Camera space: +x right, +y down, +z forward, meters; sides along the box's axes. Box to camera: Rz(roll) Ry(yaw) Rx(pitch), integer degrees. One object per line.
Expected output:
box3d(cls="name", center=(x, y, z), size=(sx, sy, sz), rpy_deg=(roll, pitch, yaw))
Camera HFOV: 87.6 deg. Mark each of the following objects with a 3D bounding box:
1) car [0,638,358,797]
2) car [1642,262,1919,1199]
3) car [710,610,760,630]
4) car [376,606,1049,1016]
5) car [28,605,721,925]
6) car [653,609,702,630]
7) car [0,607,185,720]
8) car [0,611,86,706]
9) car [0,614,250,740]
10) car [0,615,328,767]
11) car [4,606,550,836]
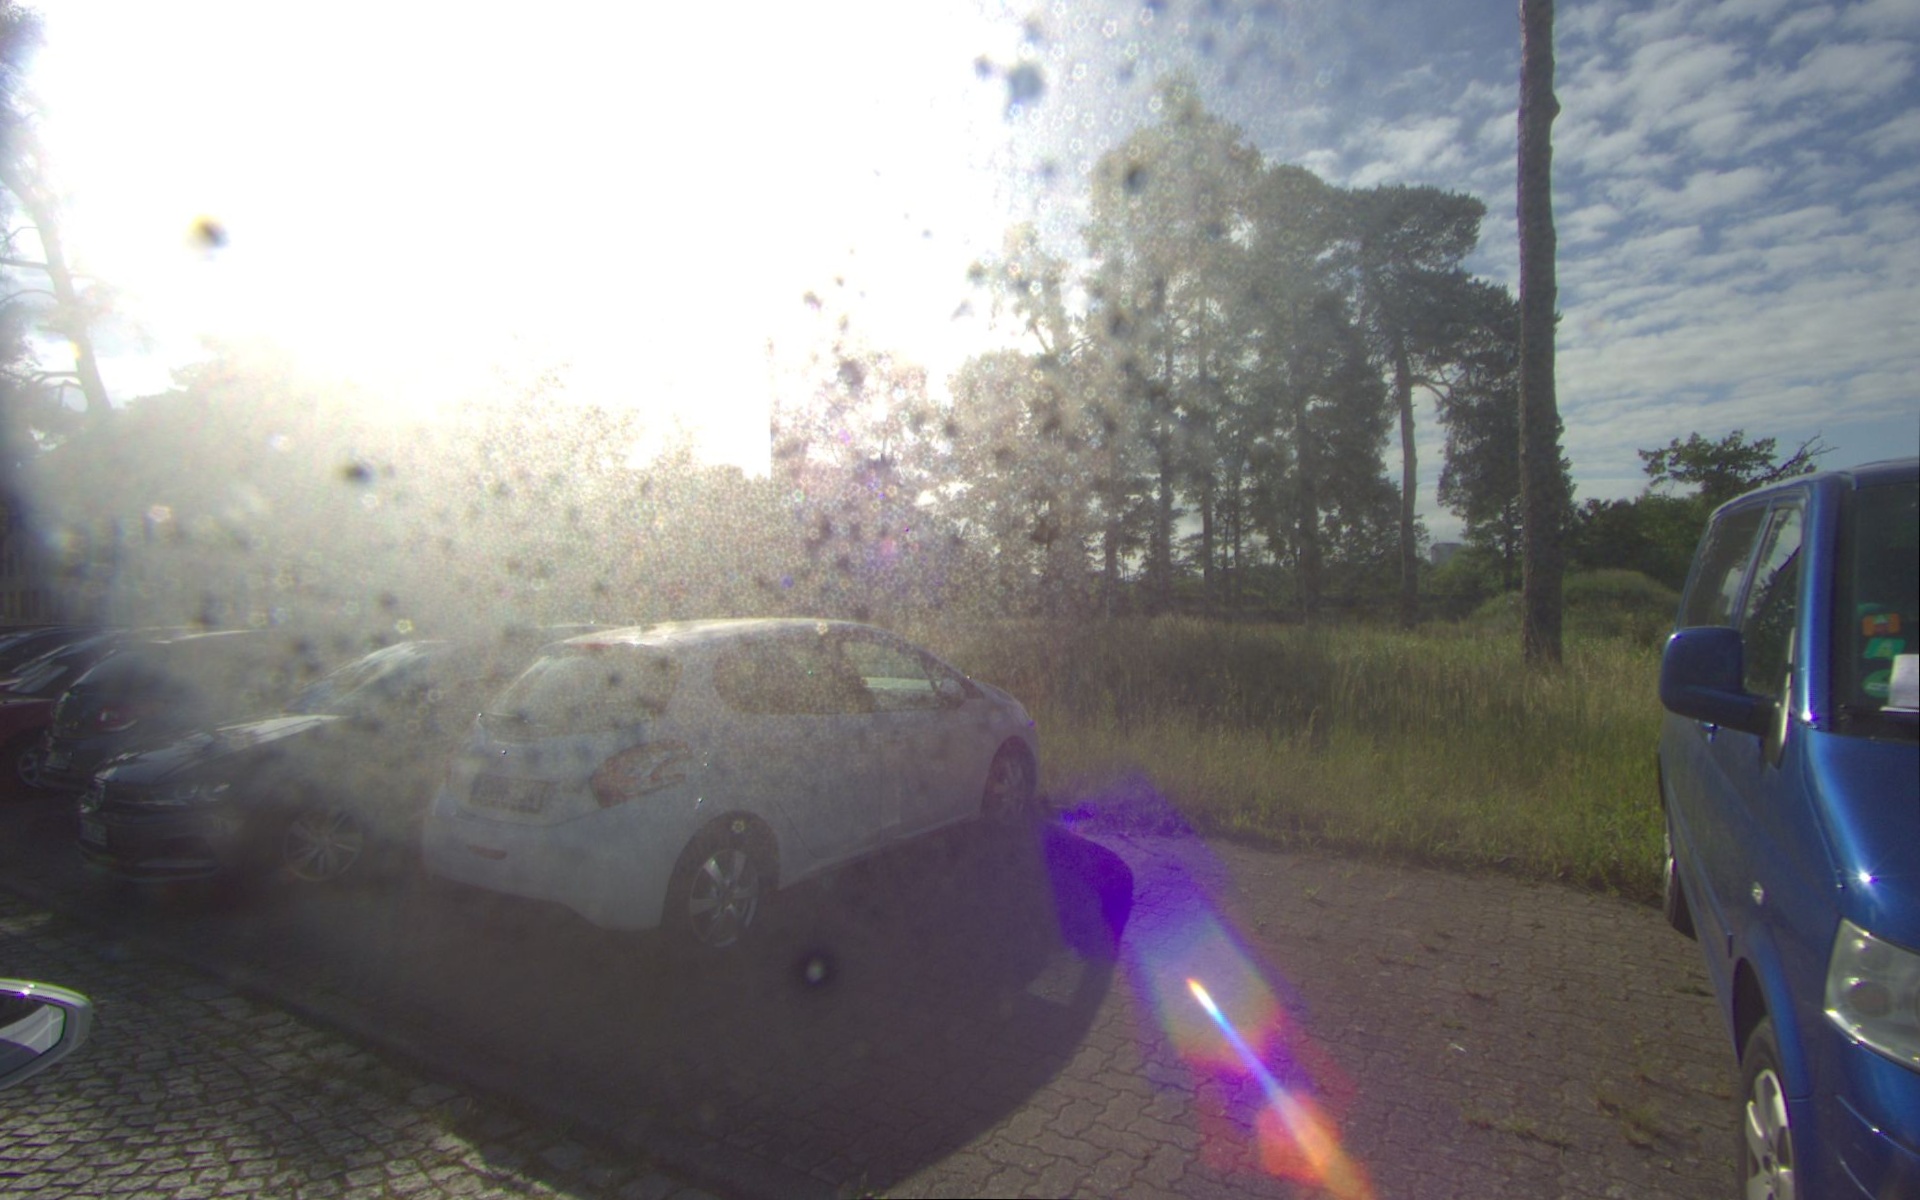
box3d(cls="car", center=(-8.177, 1.063, 9.957), size=(1.515, 1.258, 3.453), rpy_deg=(-1, 0, 33))
box3d(cls="car", center=(3.258, 0.488, 2.883), size=(1.972, 2.041, 4.741), rpy_deg=(0, 2, 32))
box3d(cls="car", center=(-17.517, 1.547, 78.135), size=(1.743, 1.517, 3.625), rpy_deg=(-1, 0, 35))
box3d(cls="car", center=(-1.049, 0.813, 5.743), size=(1.611, 1.512, 3.636), rpy_deg=(-1, 0, 33))
box3d(cls="car", center=(-3.692, 0.831, 6.968), size=(1.733, 1.470, 3.770), rpy_deg=(0, 1, 34))
box3d(cls="car", center=(-23.367, 1.572, 82.773), size=(1.743, 1.693, 3.625), rpy_deg=(-1, 0, 35))
box3d(cls="car", center=(-14.169, 0.945, 14.224), size=(1.842, 1.475, 4.610), rpy_deg=(0, 2, 30))
box3d(cls="car", center=(-16.269, 0.982, 15.584), size=(1.641, 1.463, 3.664), rpy_deg=(-1, 1, 32))
box3d(cls="car", center=(-11.919, 0.962, 12.700), size=(1.763, 1.407, 4.390), rpy_deg=(-1, 1, 31))
box3d(cls="car", center=(-9.894, 0.968, 11.652), size=(1.632, 1.468, 3.971), rpy_deg=(-1, 1, 32))
box3d(cls="car", center=(-5.809, 0.862, 8.965), size=(1.643, 1.475, 3.654), rpy_deg=(-1, 2, 32))
